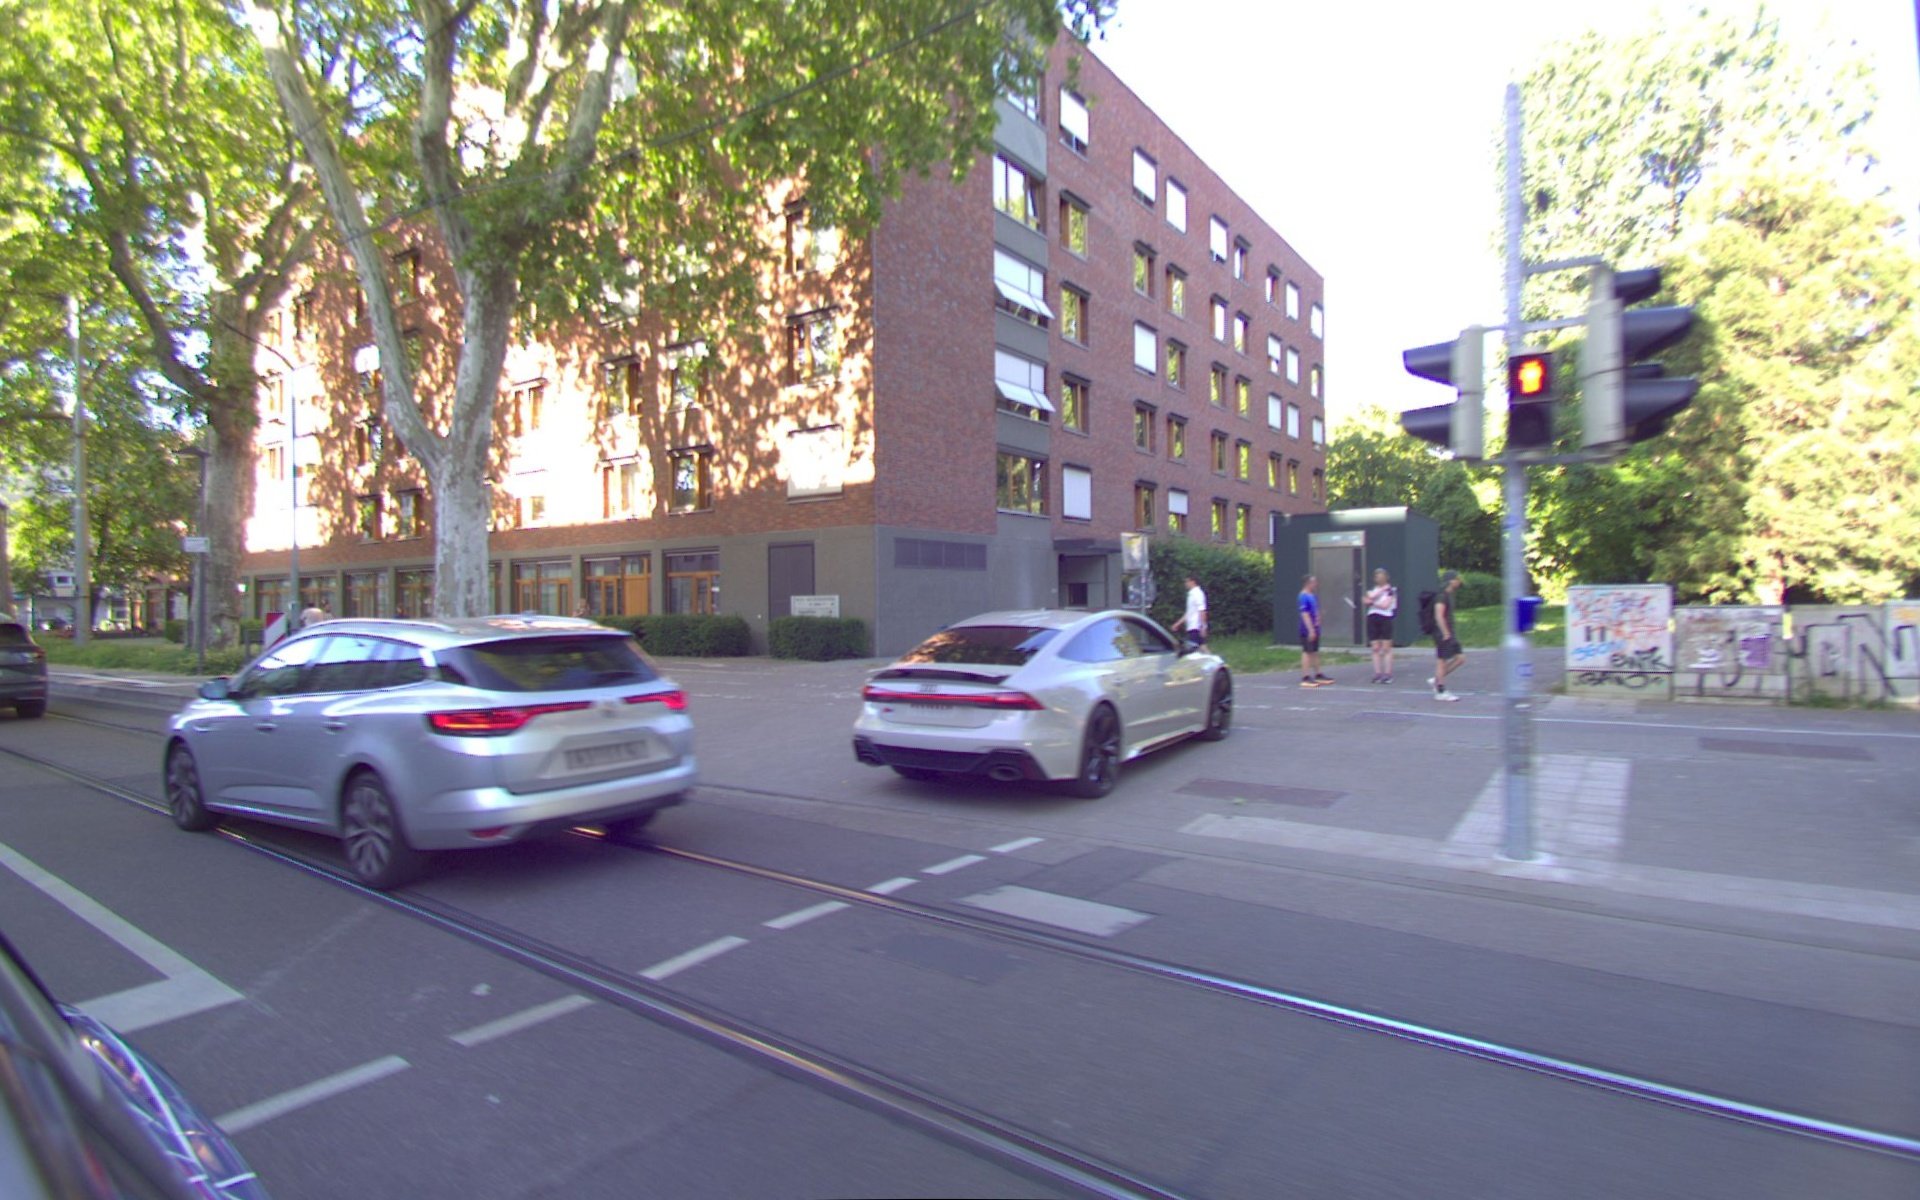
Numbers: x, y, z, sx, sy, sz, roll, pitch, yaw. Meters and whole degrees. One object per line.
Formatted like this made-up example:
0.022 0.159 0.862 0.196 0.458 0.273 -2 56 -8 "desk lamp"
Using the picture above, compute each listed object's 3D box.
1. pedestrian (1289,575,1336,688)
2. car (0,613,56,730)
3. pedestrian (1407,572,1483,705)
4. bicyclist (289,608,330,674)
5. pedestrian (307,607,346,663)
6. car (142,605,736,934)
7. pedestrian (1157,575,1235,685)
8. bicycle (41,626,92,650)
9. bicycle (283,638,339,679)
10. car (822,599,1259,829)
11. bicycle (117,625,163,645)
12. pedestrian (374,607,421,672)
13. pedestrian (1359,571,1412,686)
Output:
5.363 0.469 15.391 0.560 1.671 0.690 -1 0 27 "pedestrian"
-15.473 1.032 15.256 4.312 1.650 1.891 -1 -2 36 "car"
6.400 0.489 13.357 0.777 1.686 0.703 -1 0 35 "pedestrian"
-18.079 1.129 28.136 0.837 1.801 0.693 -1 0 37 "bicyclist"
-20.464 1.111 32.691 0.970 1.757 0.757 -1 0 36 "pedestrian"
-3.556 0.812 6.605 4.196 1.472 1.759 -1 0 36 "car"
3.901 0.472 16.739 0.831 1.750 0.918 -1 0 -27 "pedestrian"
-49.775 2.116 56.401 2.068 1.198 0.883 -1 0 -38 "bicycle"
-18.037 1.606 28.105 1.836 1.071 0.708 -1 0 37 "bicycle"
1.047 0.778 9.304 1.950 1.471 4.725 -1 0 34 "car"
-47.765 2.049 58.976 2.009 1.102 0.822 -1 0 -2 "bicycle"
-14.959 1.034 26.904 0.967 1.685 0.731 -1 0 37 "pedestrian"
6.481 0.427 15.434 0.585 1.718 0.532 -1 0 7 "pedestrian"
